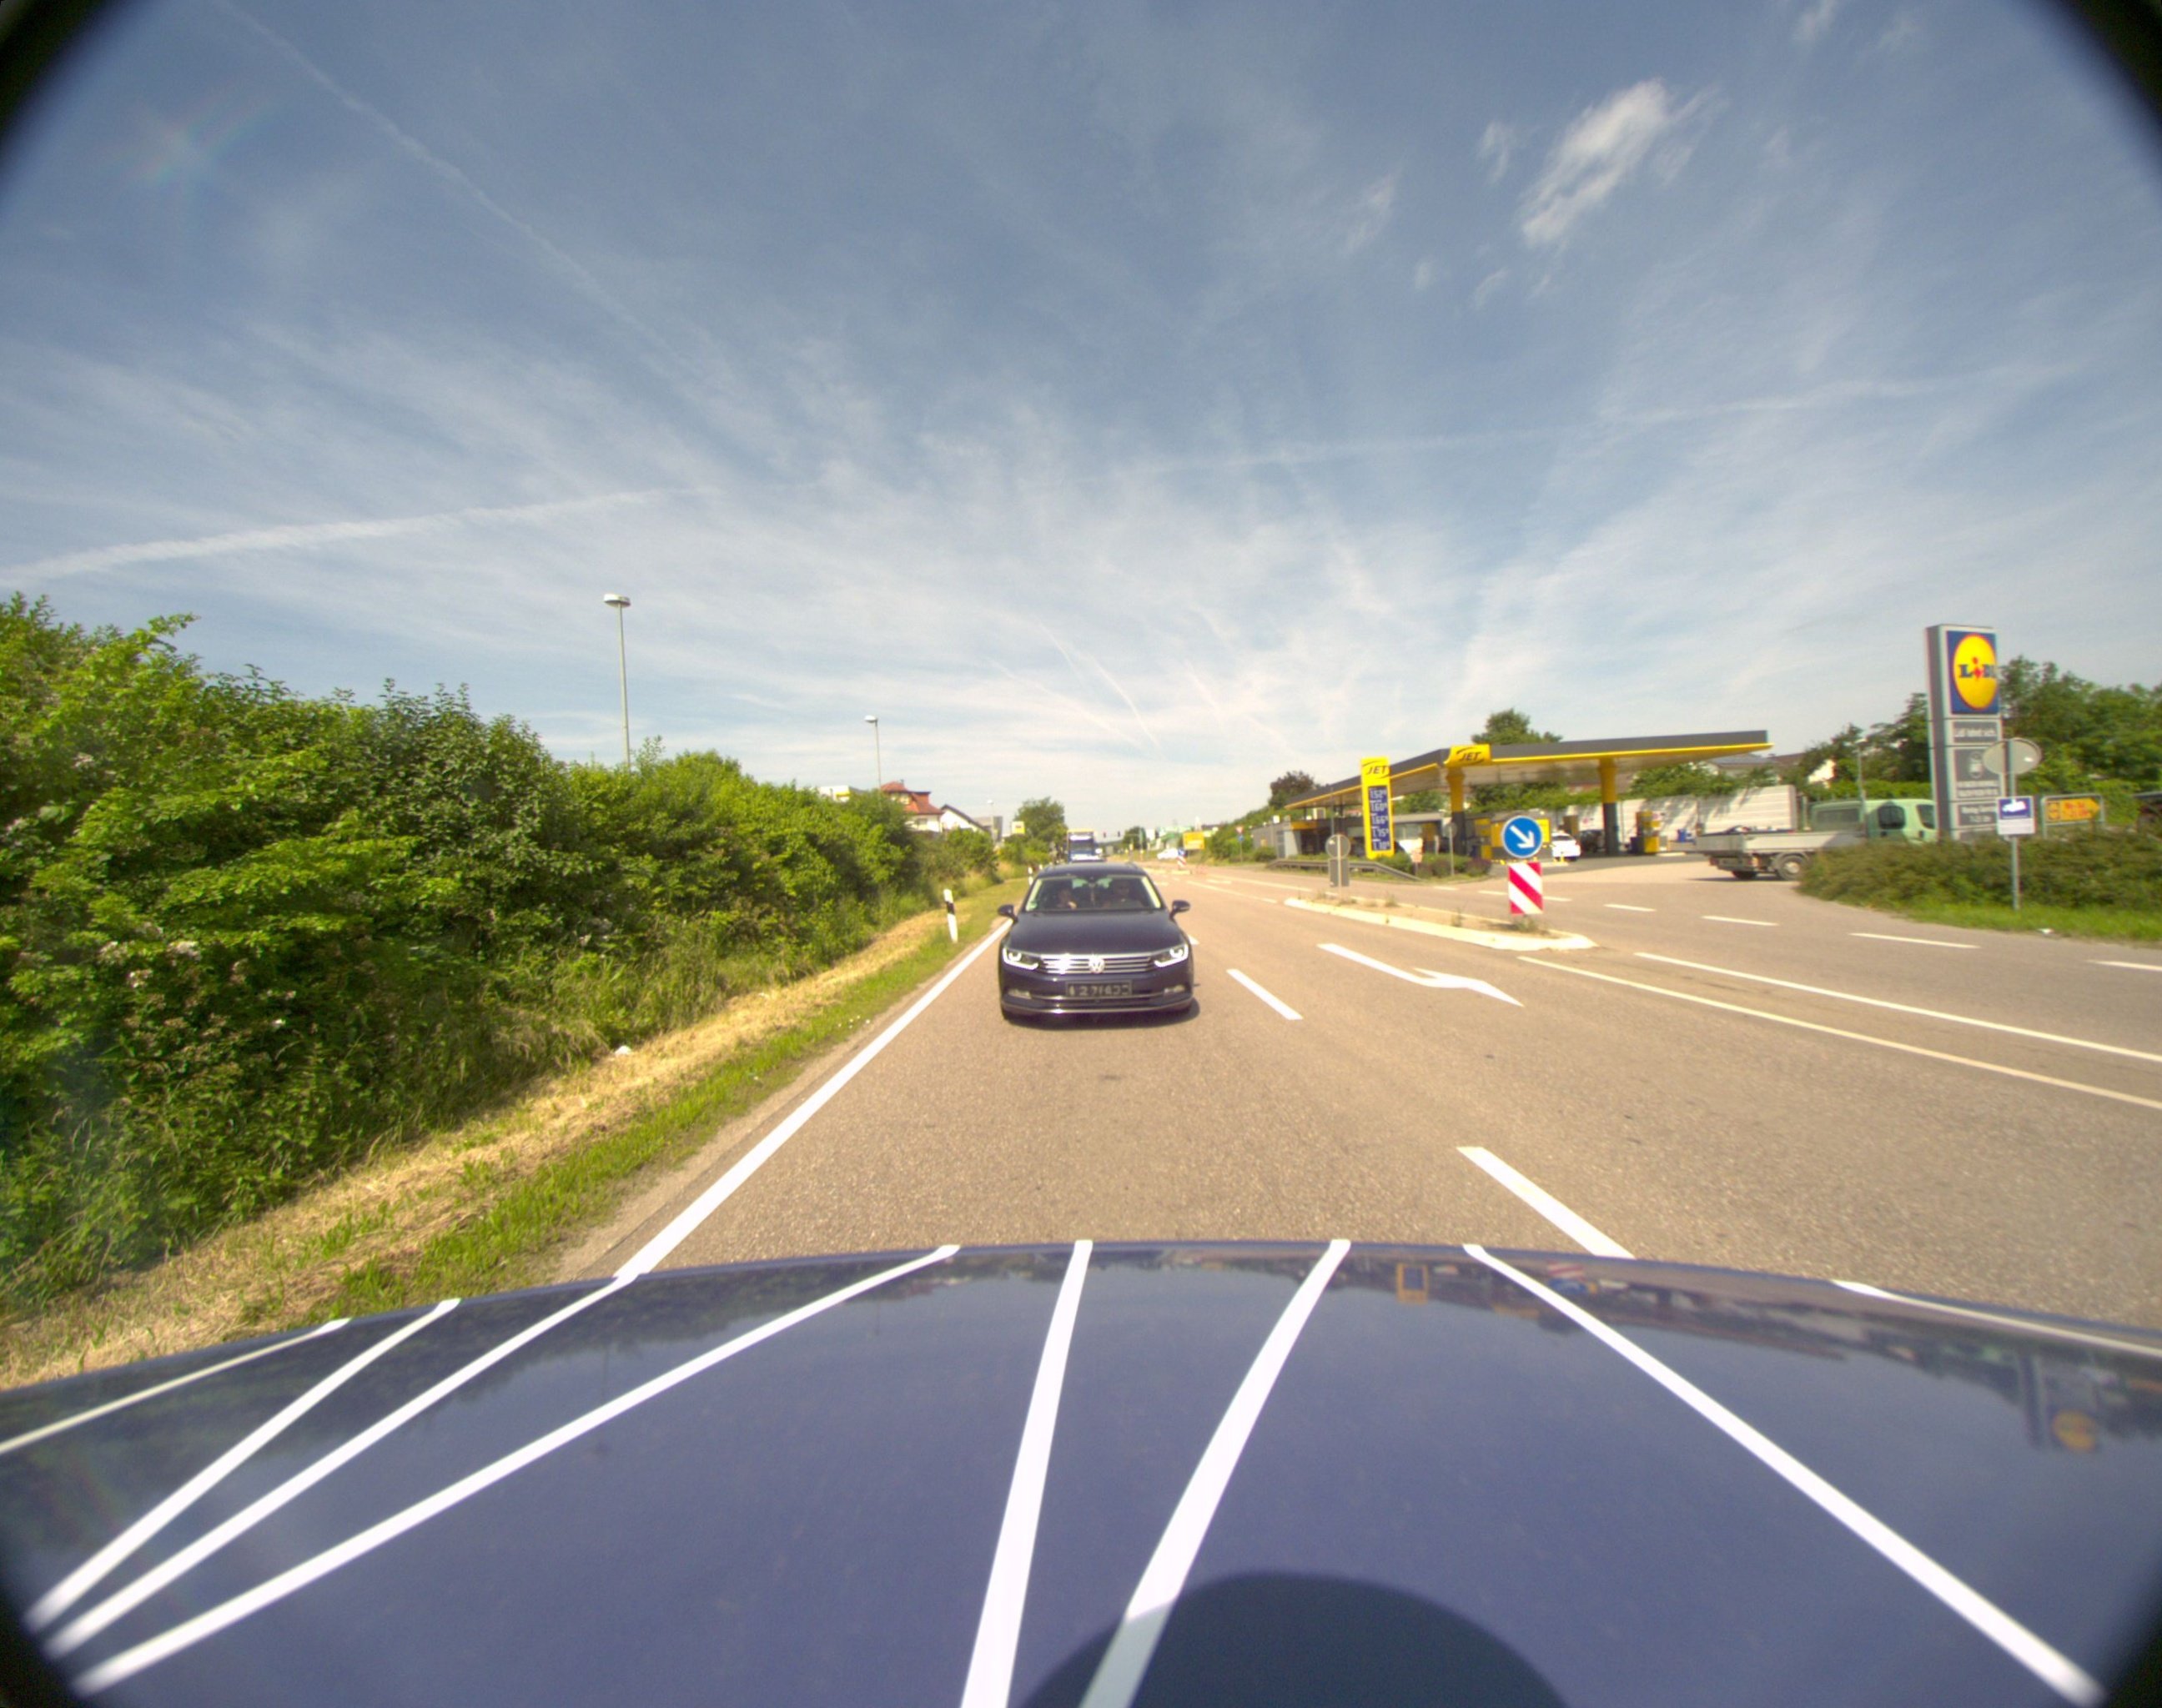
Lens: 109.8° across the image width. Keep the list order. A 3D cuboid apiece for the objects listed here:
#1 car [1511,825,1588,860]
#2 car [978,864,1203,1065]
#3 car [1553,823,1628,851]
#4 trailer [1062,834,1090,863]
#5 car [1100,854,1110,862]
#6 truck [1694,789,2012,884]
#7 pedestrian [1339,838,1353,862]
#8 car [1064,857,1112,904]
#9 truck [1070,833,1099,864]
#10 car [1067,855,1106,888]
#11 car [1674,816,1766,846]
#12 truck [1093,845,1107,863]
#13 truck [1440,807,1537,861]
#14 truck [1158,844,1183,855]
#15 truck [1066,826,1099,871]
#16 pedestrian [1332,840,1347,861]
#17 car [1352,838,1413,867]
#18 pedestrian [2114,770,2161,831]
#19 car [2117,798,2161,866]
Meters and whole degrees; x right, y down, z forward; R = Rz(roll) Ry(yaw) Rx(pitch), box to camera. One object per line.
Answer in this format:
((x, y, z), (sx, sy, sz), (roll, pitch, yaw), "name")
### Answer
((24.314, -0.549, 39.587), (1.736, 1.717, 4.001), (-1, 0, 3), "car")
((0.116, 0.924, 8.570), (1.756, 1.493, 4.925), (-2, 0, 1), "car")
((32.275, -1.070, 48.275), (1.753, 1.603, 3.873), (-2, 0, -10), "car")
((-0.783, -0.740, 109.700), (2.810, 3.897, 8.663), (-1, 0, -8), "trailer")
((4.351, 0.703, 137.755), (1.786, 1.210, 4.000), (-3, 0, 2), "car")
((21.882, -0.447, 21.855), (6.341, 2.361, 2.250), (-2, 0, 8), "truck")
((20.923, -0.299, 59.942), (0.798, 1.827, 0.640), (-3, 0, 1), "pedestrian")
((0.256, 0.859, 26.350), (1.471, 1.451, 3.797), (-2, 0, 1), "car")
((0.338, -0.710, 100.494), (2.676, 3.897, 10.043), (-1, 0, -6), "truck")
((0.319, 0.855, 38.644), (1.814, 1.466, 3.974), (-2, 0, 1), "car")
((38.057, -1.341, 45.340), (1.756, 1.603, 3.867), (-2, 0, -35), "car")
((4.415, -0.008, 178.686), (2.855, 3.999, 12.916), (-2, 0, 1), "truck")
((23.928, -1.150, 44.981), (2.250, 2.906, 6.282), (-2, 1, -1), "truck")
((18.907, -0.874, 160.627), (4.773, 1.997, 1.999), (-3, 0, -5), "truck")
((0.230, -0.540, 76.676), (2.855, 3.999, 12.916), (-2, 0, 1), "truck")
((18.170, -0.265, 53.475), (0.914, 1.419, 0.494), (-2, 1, 11), "pedestrian")
((19.121, -0.084, 48.372), (1.999, 1.696, 4.264), (-2, 0, -3), "car")
((28.261, -1.425, 20.226), (0.705, 1.566, 0.807), (-3, 1, -27), "pedestrian")
((30.733, -0.685, 20.767), (4.172, 1.801, 1.877), (-3, 0, -23), "car")
